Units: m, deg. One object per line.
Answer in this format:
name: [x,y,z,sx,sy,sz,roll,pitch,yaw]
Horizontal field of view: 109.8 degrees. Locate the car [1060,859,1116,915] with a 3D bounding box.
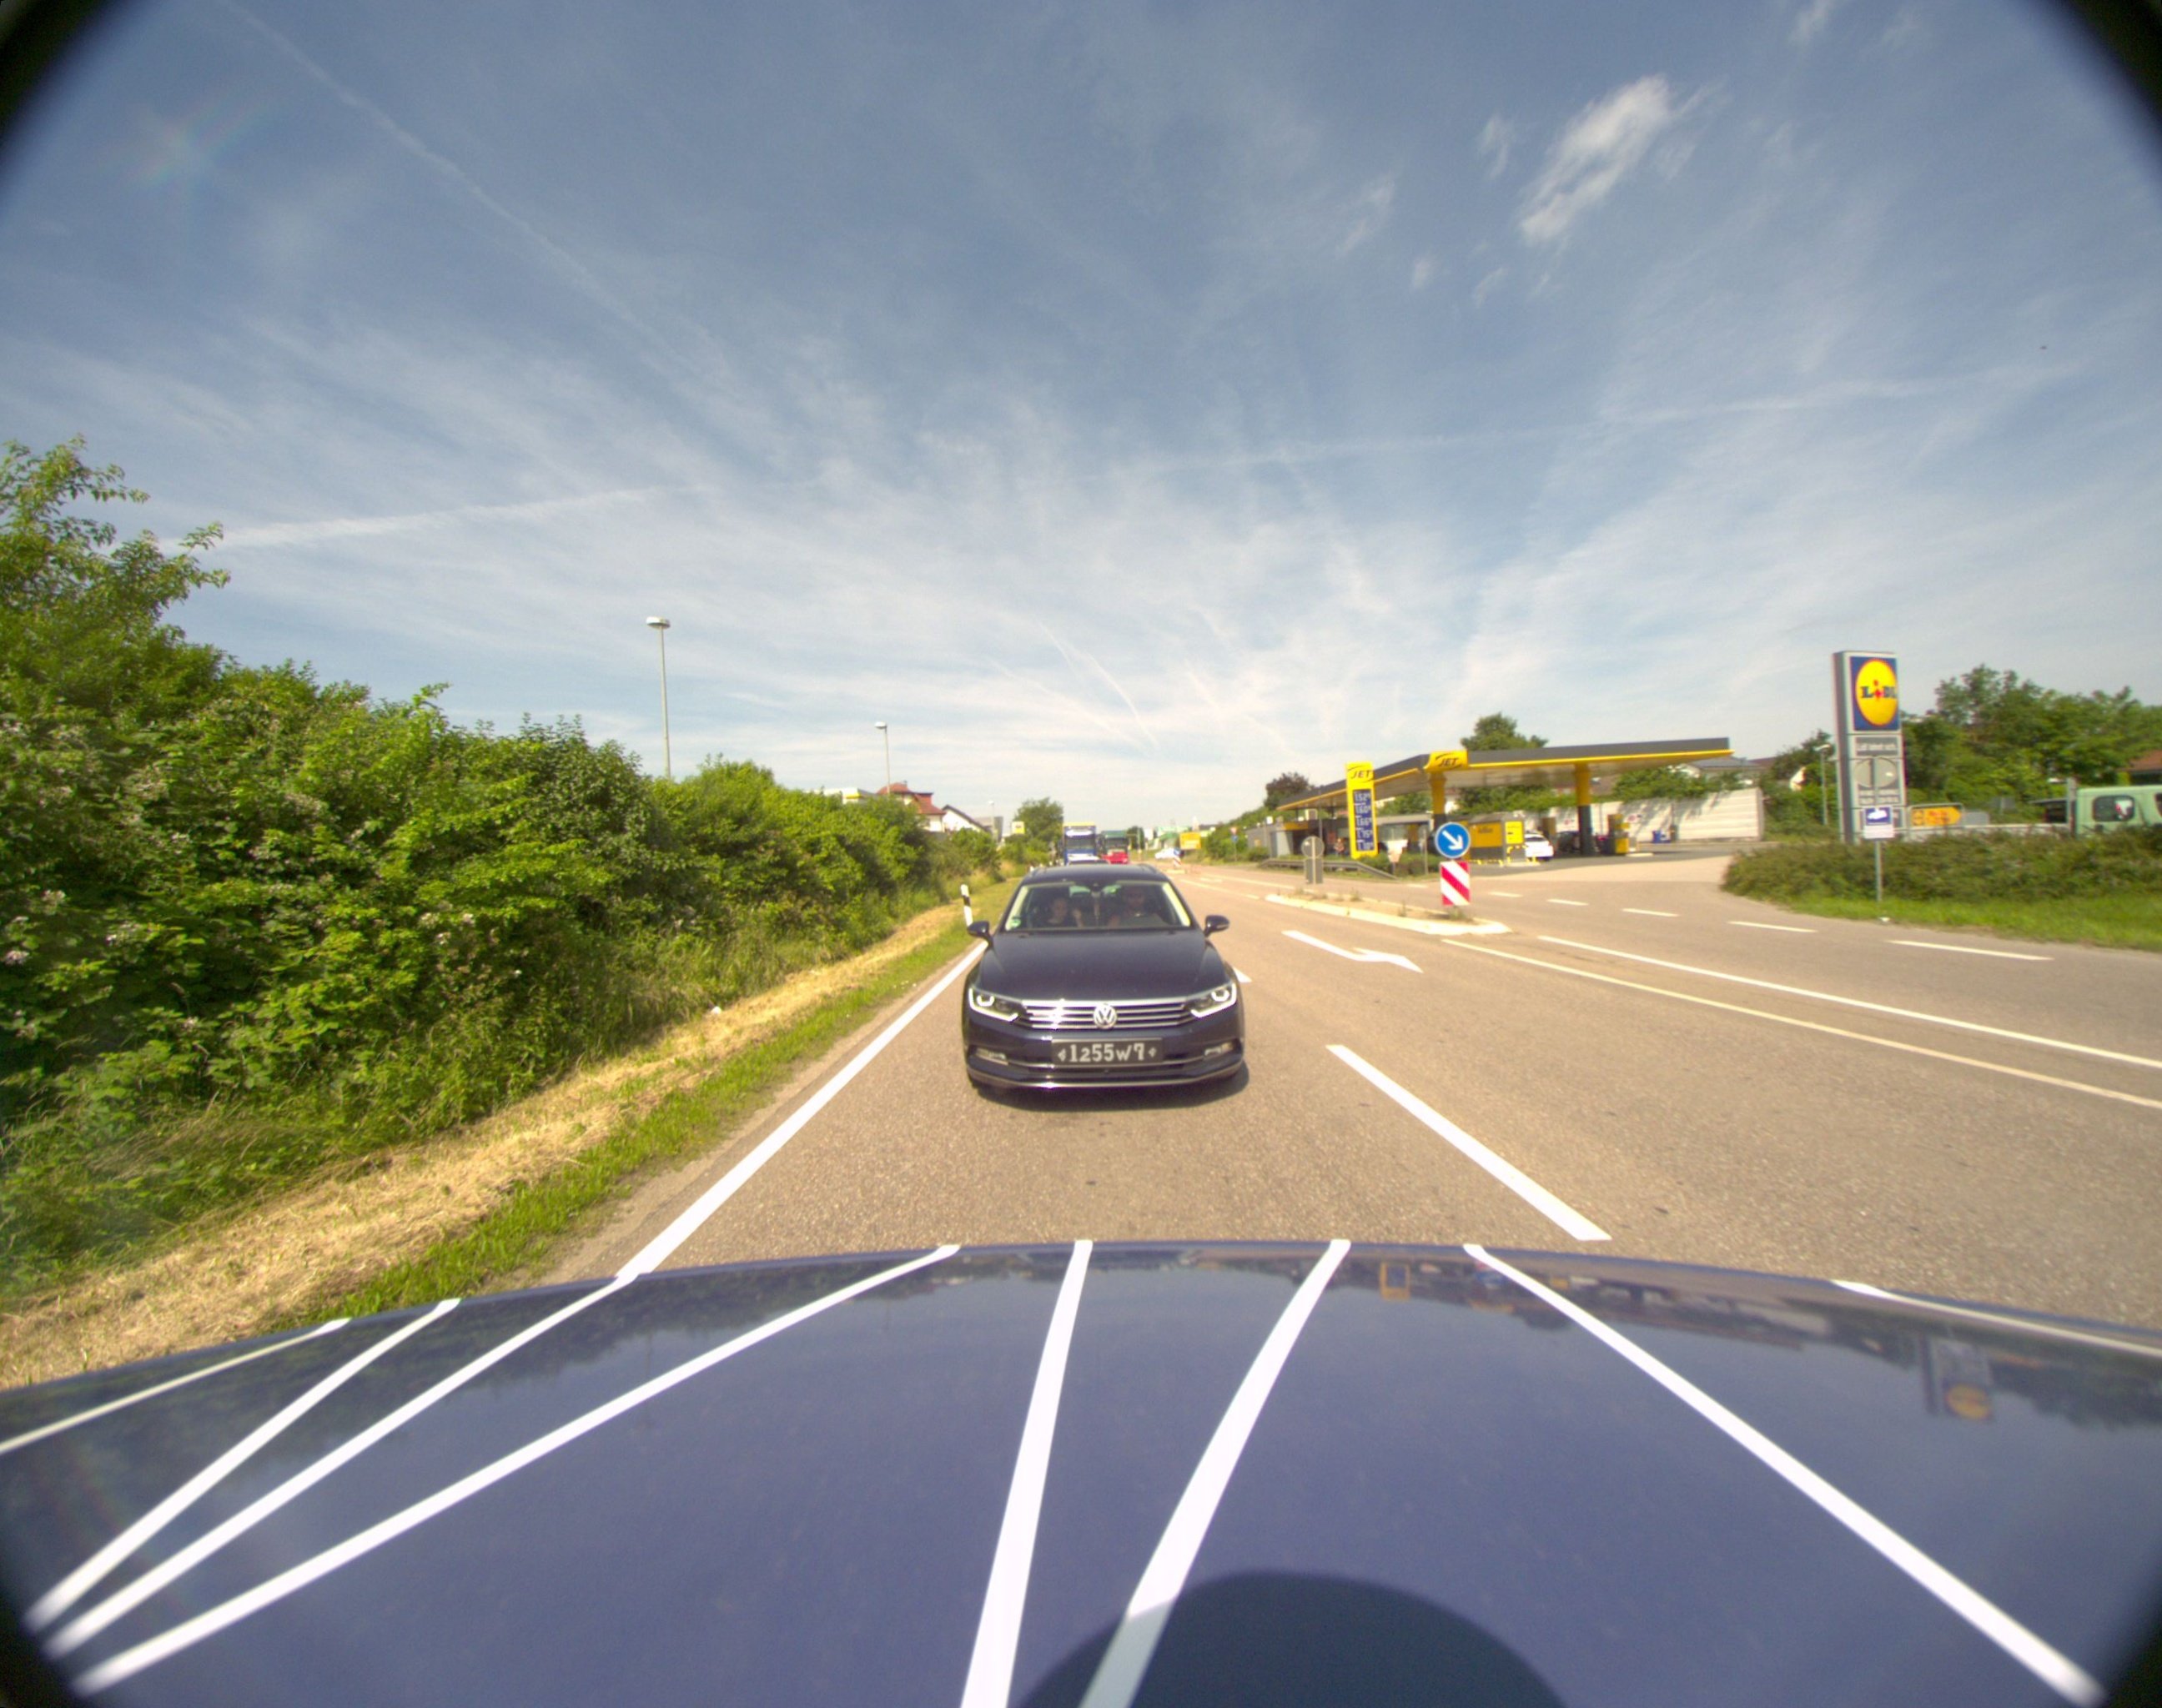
car: [0.214,0.907,22.564,1.471,1.451,3.797,-2,0,1]

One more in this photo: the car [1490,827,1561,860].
car: [24.246,-0.542,41.617,1.736,1.718,4.001,-1,0,3]

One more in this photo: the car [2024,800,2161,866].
car: [30.691,-0.640,22.806,4.172,1.801,1.877,-3,1,-23]

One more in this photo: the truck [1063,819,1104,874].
truck: [0.292,-0.617,62.584,2.855,3.999,12.916,-2,0,1]

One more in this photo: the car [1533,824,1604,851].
car: [32.197,-1.054,50.315,1.753,1.603,3.873,-2,0,-10]

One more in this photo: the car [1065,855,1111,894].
car: [0.312,0.819,32.441,1.814,1.466,3.974,-2,0,1]

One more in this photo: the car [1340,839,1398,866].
car: [19.041,-0.100,50.396,1.999,1.696,4.263,-2,0,-3]

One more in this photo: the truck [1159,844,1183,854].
truck: [19.305,-1.046,162.383,4.771,1.997,2.000,-3,1,-1]

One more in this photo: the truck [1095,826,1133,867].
truck: [3.334,-0.793,79.508,2.676,3.897,10.045,-3,0,-4]

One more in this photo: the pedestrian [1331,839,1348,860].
pedestrian: [17.710,-0.327,52.084,0.914,1.419,0.494,-2,1,2]

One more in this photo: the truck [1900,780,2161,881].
truck: [25.747,-0.563,19.385,2.253,2.361,6.334,-2,0,-36]

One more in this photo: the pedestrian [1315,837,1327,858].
pedestrian: [20.697,-0.554,65.572,0.798,1.827,0.640,-3,1,1]

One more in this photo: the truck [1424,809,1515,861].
truck: [23.855,-1.150,47.010,2.250,2.906,6.282,-2,1,-1]

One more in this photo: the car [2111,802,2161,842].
car: [44.677,-1.393,30.762,3.999,1.531,1.769,-3,0,-7]

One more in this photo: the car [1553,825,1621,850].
car: [35.857,-1.141,53.945,1.754,1.603,3.872,-2,0,-13]

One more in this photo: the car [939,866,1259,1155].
car: [0.139,0.922,6.743,1.756,1.493,4.925,-2,0,1]
